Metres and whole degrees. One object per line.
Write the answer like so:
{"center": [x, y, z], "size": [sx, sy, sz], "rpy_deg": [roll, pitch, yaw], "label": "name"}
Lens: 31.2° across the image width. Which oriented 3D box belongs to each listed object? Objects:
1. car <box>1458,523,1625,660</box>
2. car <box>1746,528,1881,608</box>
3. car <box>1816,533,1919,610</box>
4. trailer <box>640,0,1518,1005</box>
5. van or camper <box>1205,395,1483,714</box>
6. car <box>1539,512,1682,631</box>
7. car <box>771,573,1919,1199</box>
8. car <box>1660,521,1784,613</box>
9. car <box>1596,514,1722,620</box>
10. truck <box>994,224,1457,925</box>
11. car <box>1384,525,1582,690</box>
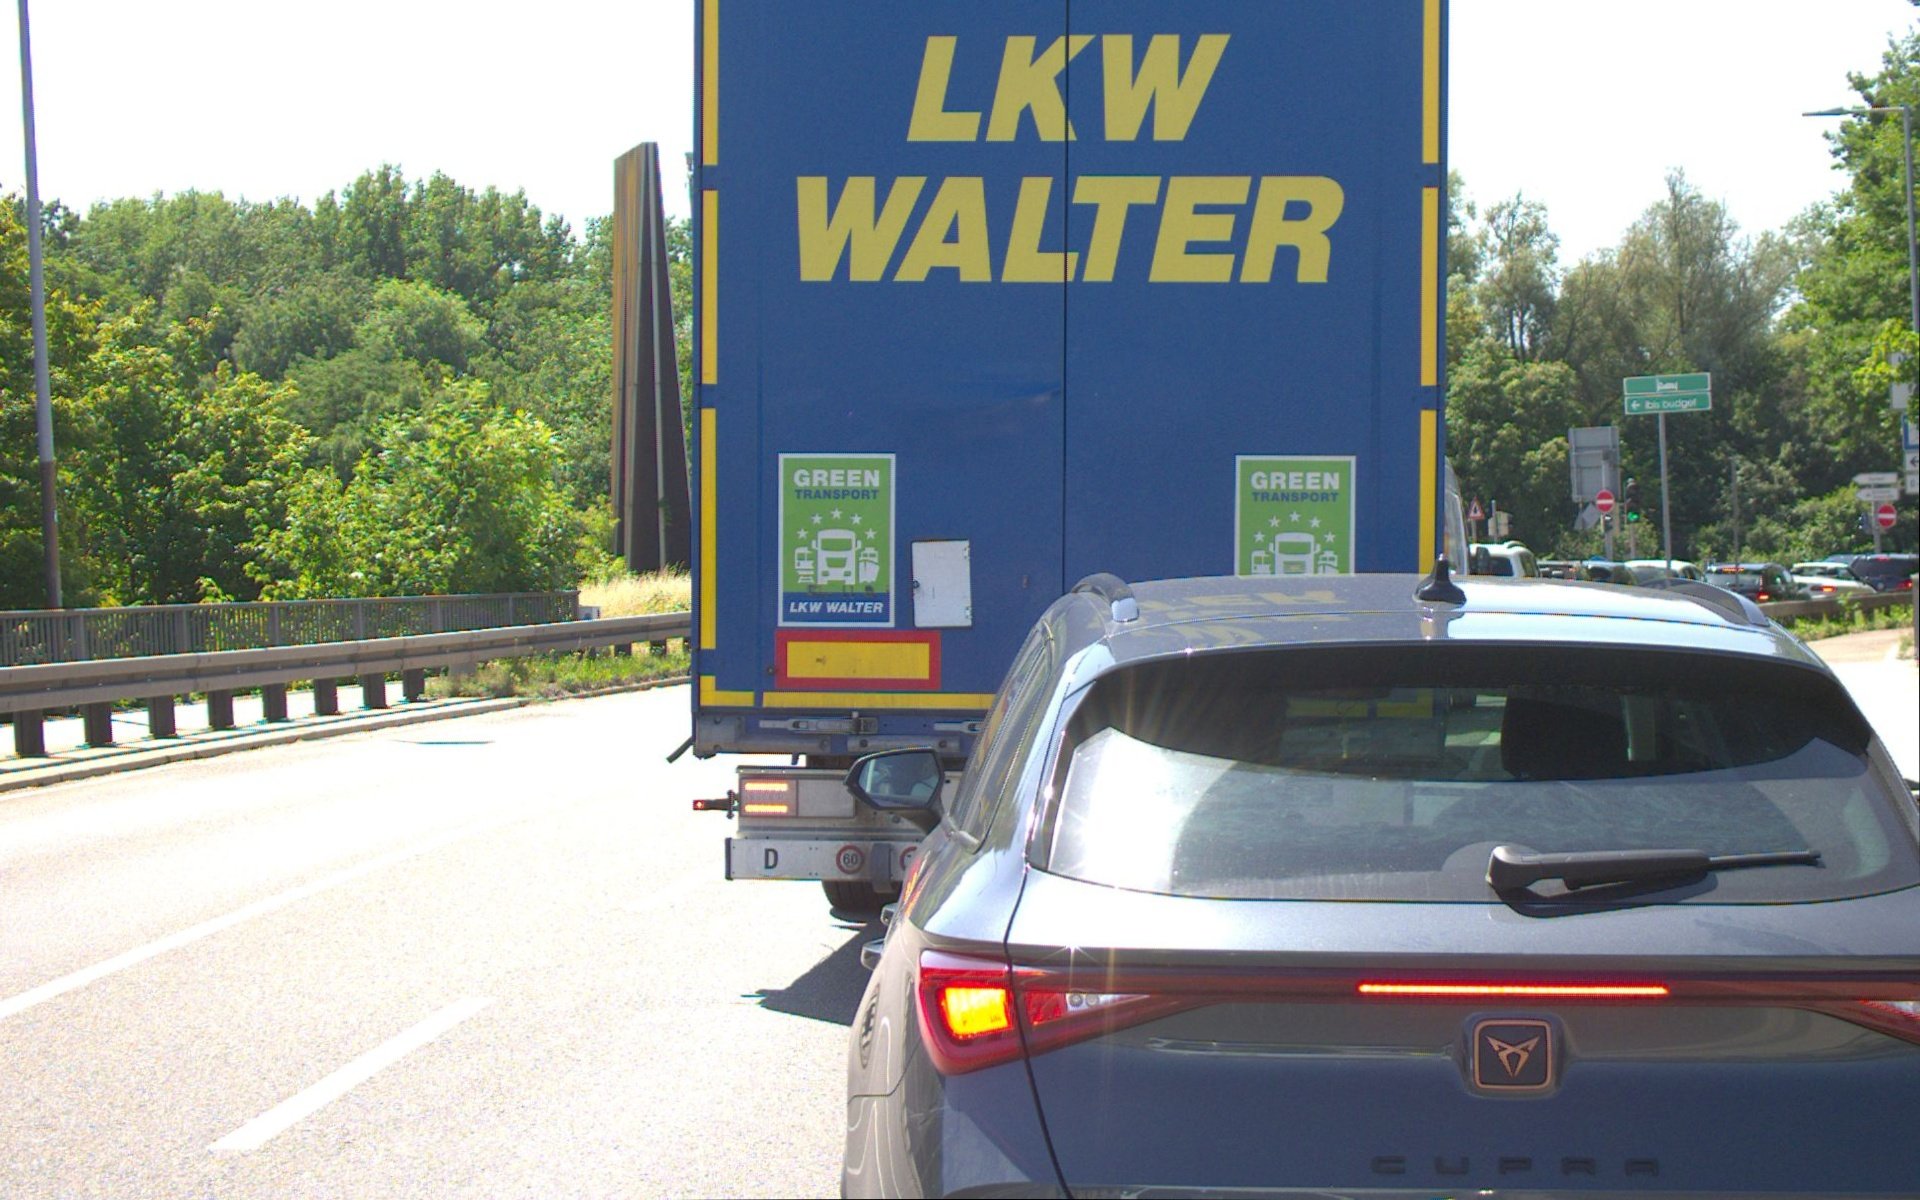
{"center": [8.044, -0.154, 47.315], "size": [1.722, 1.796, 3.997], "rpy_deg": [0, 1, 18], "label": "car"}
{"center": [18.490, -0.681, 74.393], "size": [1.996, 1.570, 3.994], "rpy_deg": [2, 0, 26], "label": "car"}
{"center": [21.357, -0.649, 80.367], "size": [1.688, 1.754, 3.994], "rpy_deg": [0, 0, 28], "label": "car"}
{"center": [1.146, -0.999, 17.559], "size": [2.905, 4.403, 12.430], "rpy_deg": [0, 1, 7], "label": "trailer"}
{"center": [3.873, -0.461, 33.615], "size": [2.155, 2.806, 6.384], "rpy_deg": [0, 1, 11], "label": "van or camper"}
{"center": [10.514, -0.484, 55.391], "size": [1.722, 1.837, 3.996], "rpy_deg": [0, 1, 19], "label": "car"}
{"center": [0.681, 0.693, 5.930], "size": [1.677, 1.451, 3.958], "rpy_deg": [0, 1, 2], "label": "car"}
{"center": [15.135, -0.646, 68.150], "size": [1.687, 1.754, 3.995], "rpy_deg": [0, 0, 23], "label": "car"}
{"center": [12.536, -0.617, 61.505], "size": [1.722, 1.837, 3.996], "rpy_deg": [0, 1, 19], "label": "car"}
{"center": [2.087, -0.227, 25.050], "size": [2.905, 4.403, 6.554], "rpy_deg": [0, 1, 7], "label": "truck"}
{"center": [6.283, 0.038, 40.998], "size": [1.722, 1.837, 3.997], "rpy_deg": [0, 2, 18], "label": "car"}
